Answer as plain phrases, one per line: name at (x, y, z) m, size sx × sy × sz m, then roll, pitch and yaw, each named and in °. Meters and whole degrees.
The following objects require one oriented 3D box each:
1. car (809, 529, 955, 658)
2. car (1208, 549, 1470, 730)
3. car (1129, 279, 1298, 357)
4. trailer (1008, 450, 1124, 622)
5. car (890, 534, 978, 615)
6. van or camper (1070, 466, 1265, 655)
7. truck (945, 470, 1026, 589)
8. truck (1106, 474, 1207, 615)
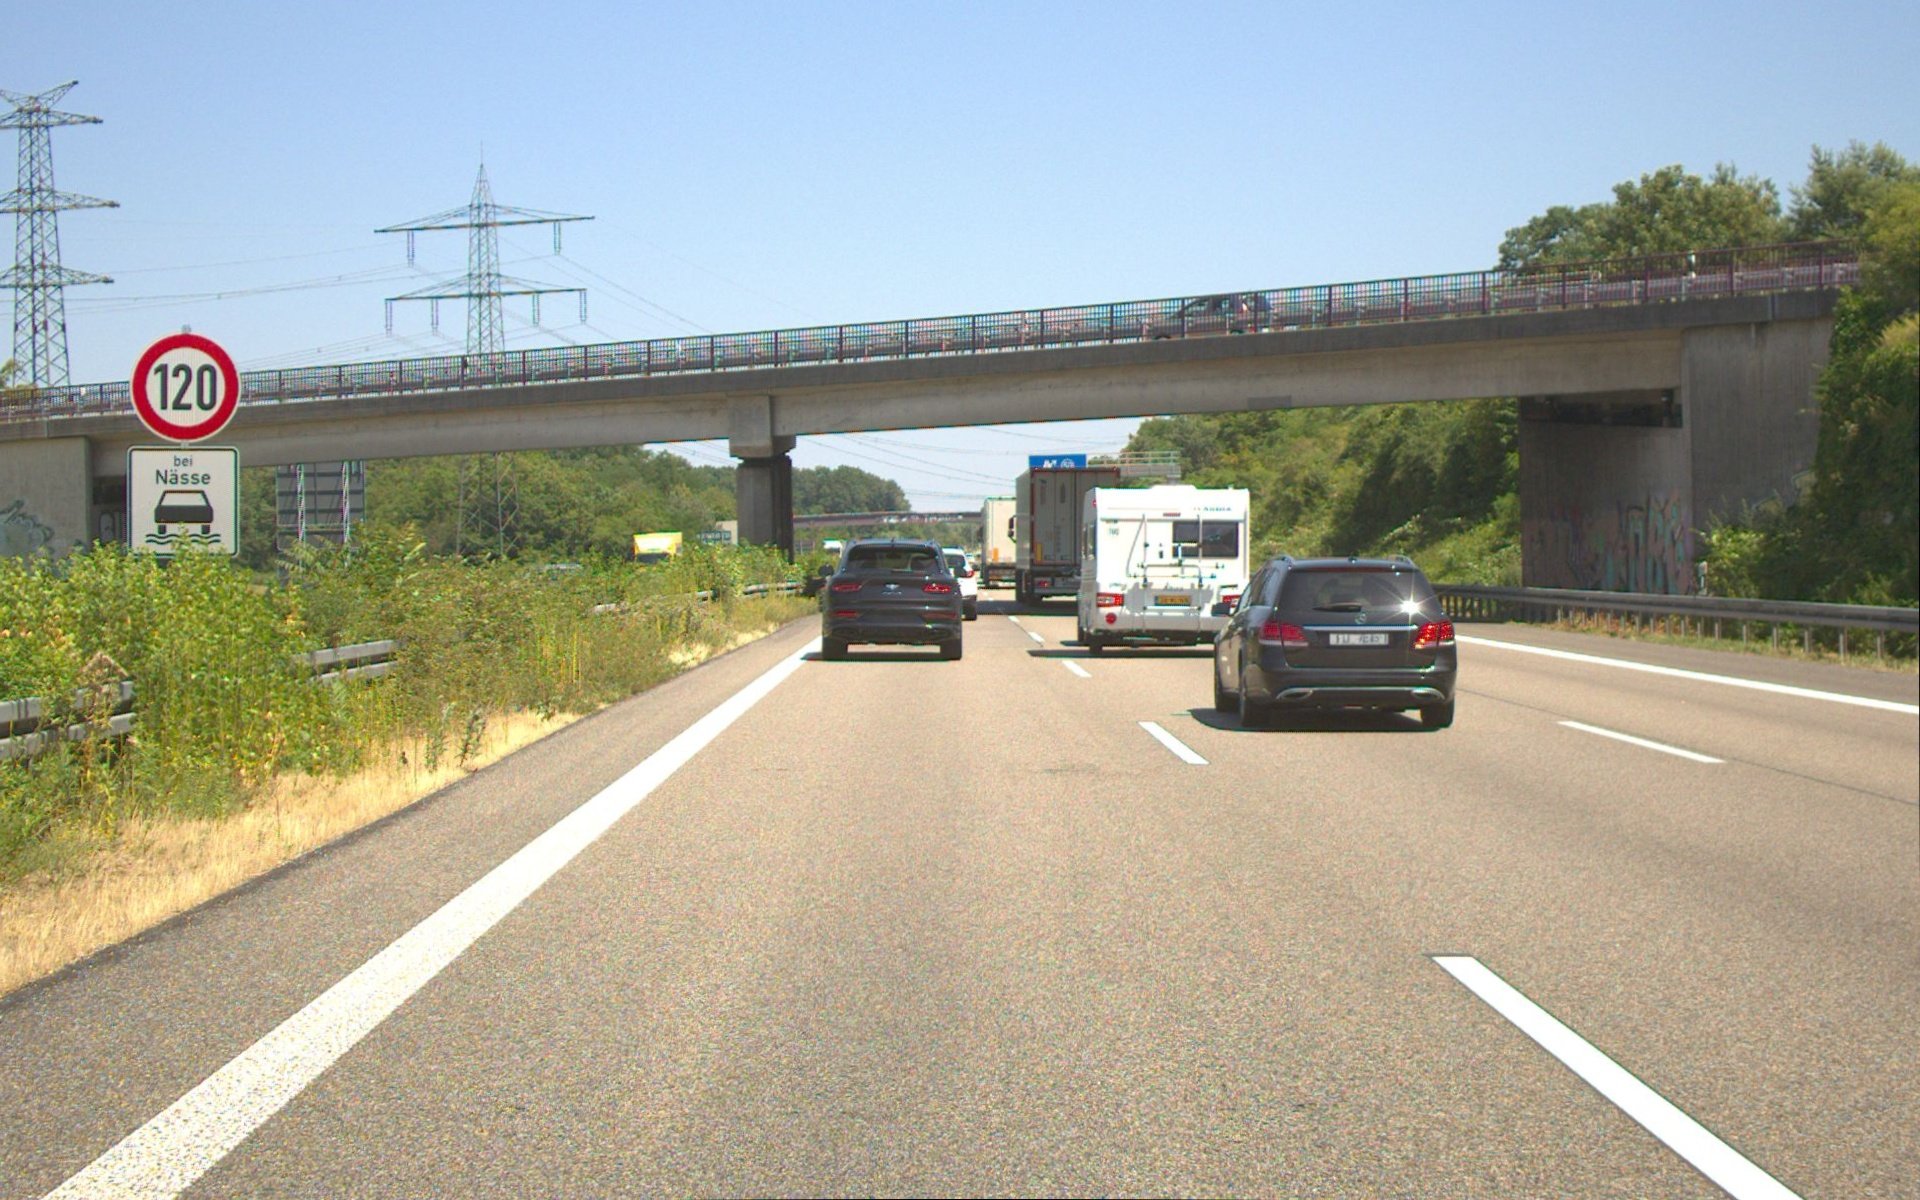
car at (-1.115, -0.123, 49.628) m, size 1.993 × 1.766 × 4.000 m, roll -1°, pitch 1°, yaw -1°
car at (3.330, 0.294, 31.042) m, size 1.841 × 1.500 × 4.738 m, roll 0°, pitch 1°, yaw 0°
car at (6.738, -7.491, 91.592) m, size 3.994 × 1.645 × 1.996 m, roll -2°, pitch -1°, yaw 32°
trailer at (3.114, -1.868, 104.347) m, size 3.087 × 4.868 × 12.258 m, roll 1°, pitch 0°, yaw 0°
car at (-0.624, -0.613, 79.891) m, size 1.961 × 1.808 × 4.449 m, roll -1°, pitch 1°, yaw -1°
van or camper at (3.072, -0.612, 52.279) m, size 2.439 × 2.665 × 6.350 m, roll -1°, pitch 1°, yaw -1°
truck at (1.108, -3.147, 154.676) m, size 3.512 × 5.149 × 10.259 m, roll 0°, pitch 1°, yaw 0°
truck at (7.032, -1.961, 124.365) m, size 3.087 × 4.868 × 8.798 m, roll 1°, pitch 0°, yaw 0°
